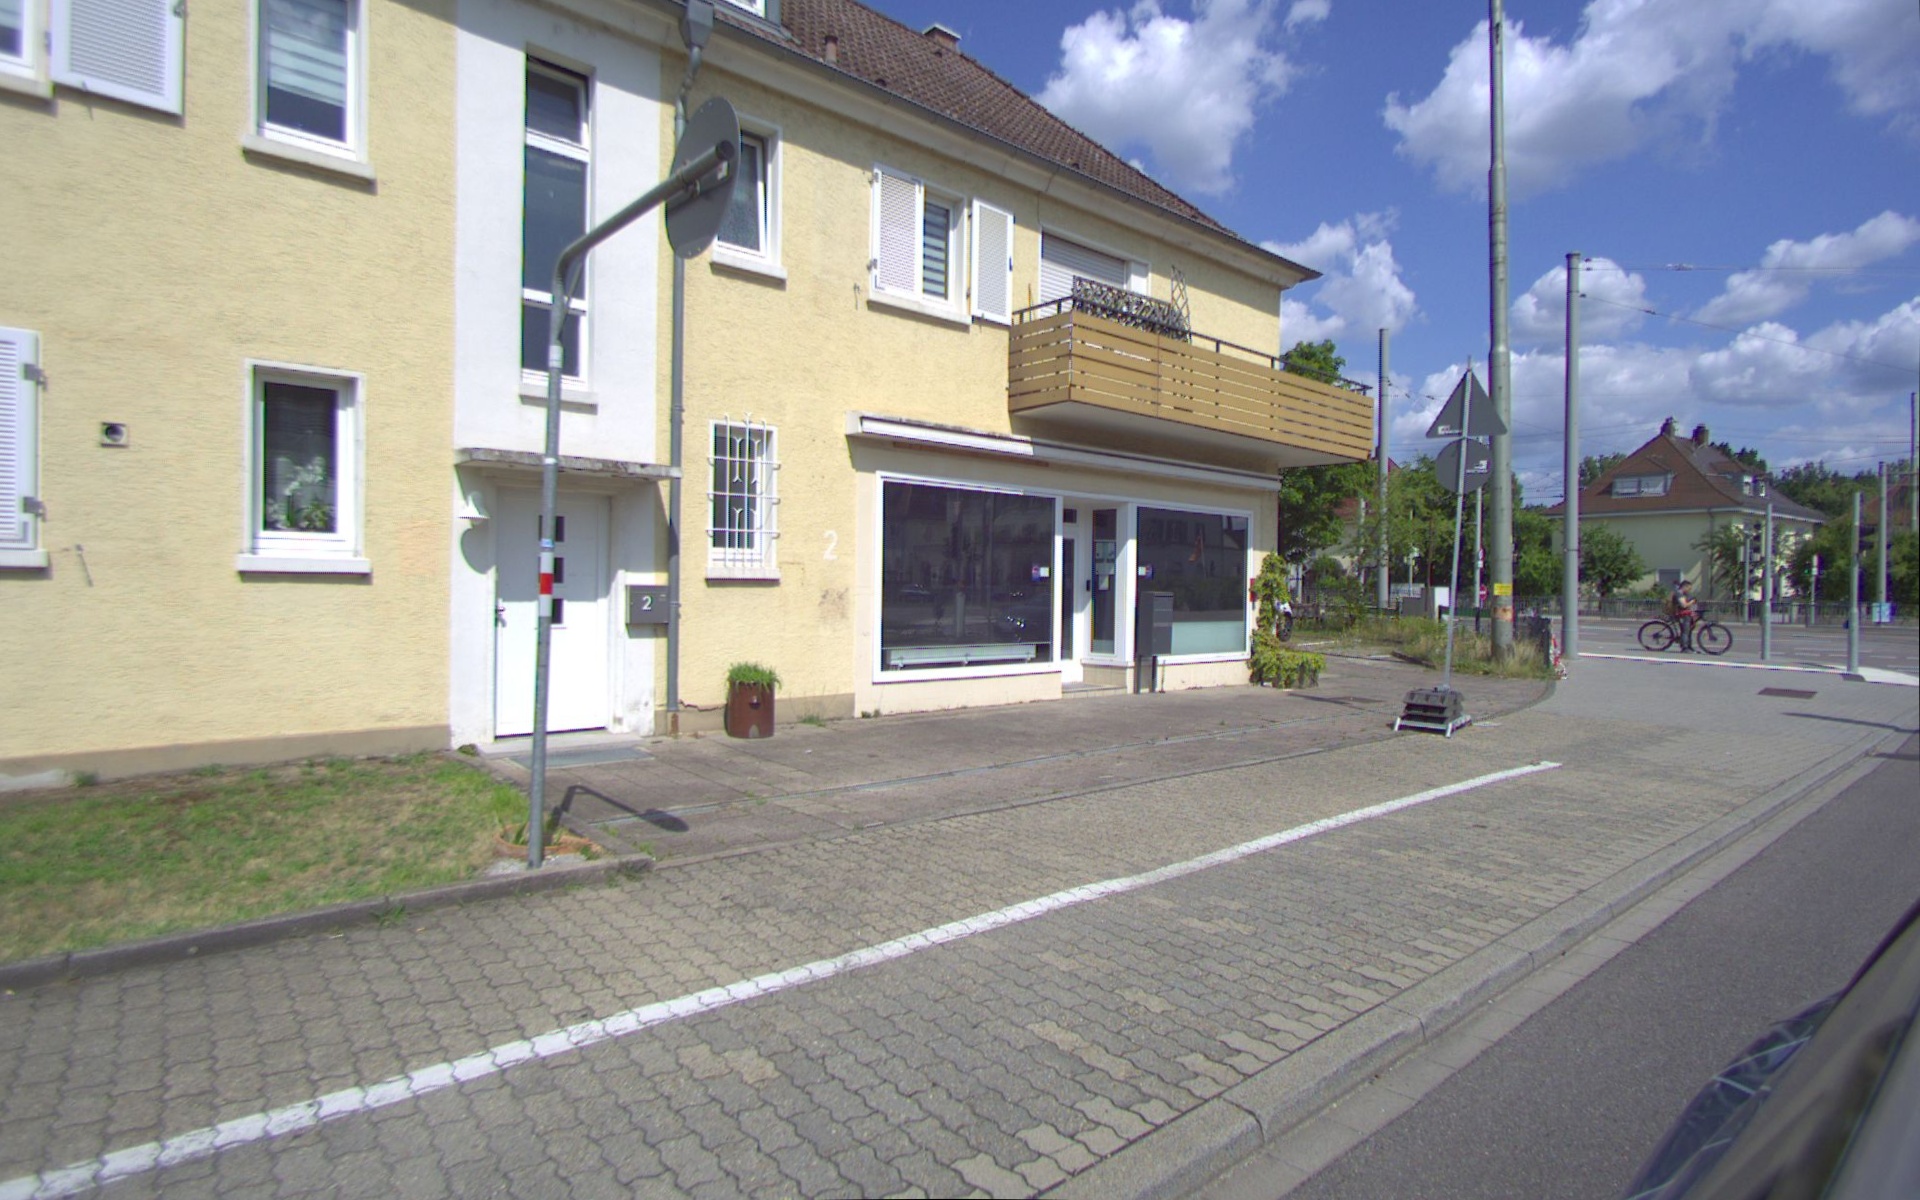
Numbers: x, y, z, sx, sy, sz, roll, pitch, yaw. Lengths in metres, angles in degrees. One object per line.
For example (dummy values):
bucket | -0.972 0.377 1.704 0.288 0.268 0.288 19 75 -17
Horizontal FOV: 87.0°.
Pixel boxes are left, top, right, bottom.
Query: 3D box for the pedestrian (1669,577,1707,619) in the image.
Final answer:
pedestrian | 30.861 -0.081 42.900 1.022 1.757 1.032 1 0 -38

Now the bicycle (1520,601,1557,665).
bicycle | 11.131 0.601 19.493 0.590 1.110 2.253 0 1 30

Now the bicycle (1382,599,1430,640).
bicycle | 12.887 0.538 29.321 0.690 1.119 1.806 1 1 4

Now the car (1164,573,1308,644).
car | 7.122 0.146 25.932 3.935 1.641 1.823 -2 2 -44

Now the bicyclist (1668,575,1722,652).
bicyclist | 17.571 0.296 24.207 0.952 1.797 0.712 0 0 30

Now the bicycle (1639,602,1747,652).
bicycle | 17.503 0.628 24.230 2.016 1.115 0.708 1 1 30

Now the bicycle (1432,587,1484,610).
bicycle | 30.531 -0.078 62.101 0.612 1.351 2.797 1 0 -41
